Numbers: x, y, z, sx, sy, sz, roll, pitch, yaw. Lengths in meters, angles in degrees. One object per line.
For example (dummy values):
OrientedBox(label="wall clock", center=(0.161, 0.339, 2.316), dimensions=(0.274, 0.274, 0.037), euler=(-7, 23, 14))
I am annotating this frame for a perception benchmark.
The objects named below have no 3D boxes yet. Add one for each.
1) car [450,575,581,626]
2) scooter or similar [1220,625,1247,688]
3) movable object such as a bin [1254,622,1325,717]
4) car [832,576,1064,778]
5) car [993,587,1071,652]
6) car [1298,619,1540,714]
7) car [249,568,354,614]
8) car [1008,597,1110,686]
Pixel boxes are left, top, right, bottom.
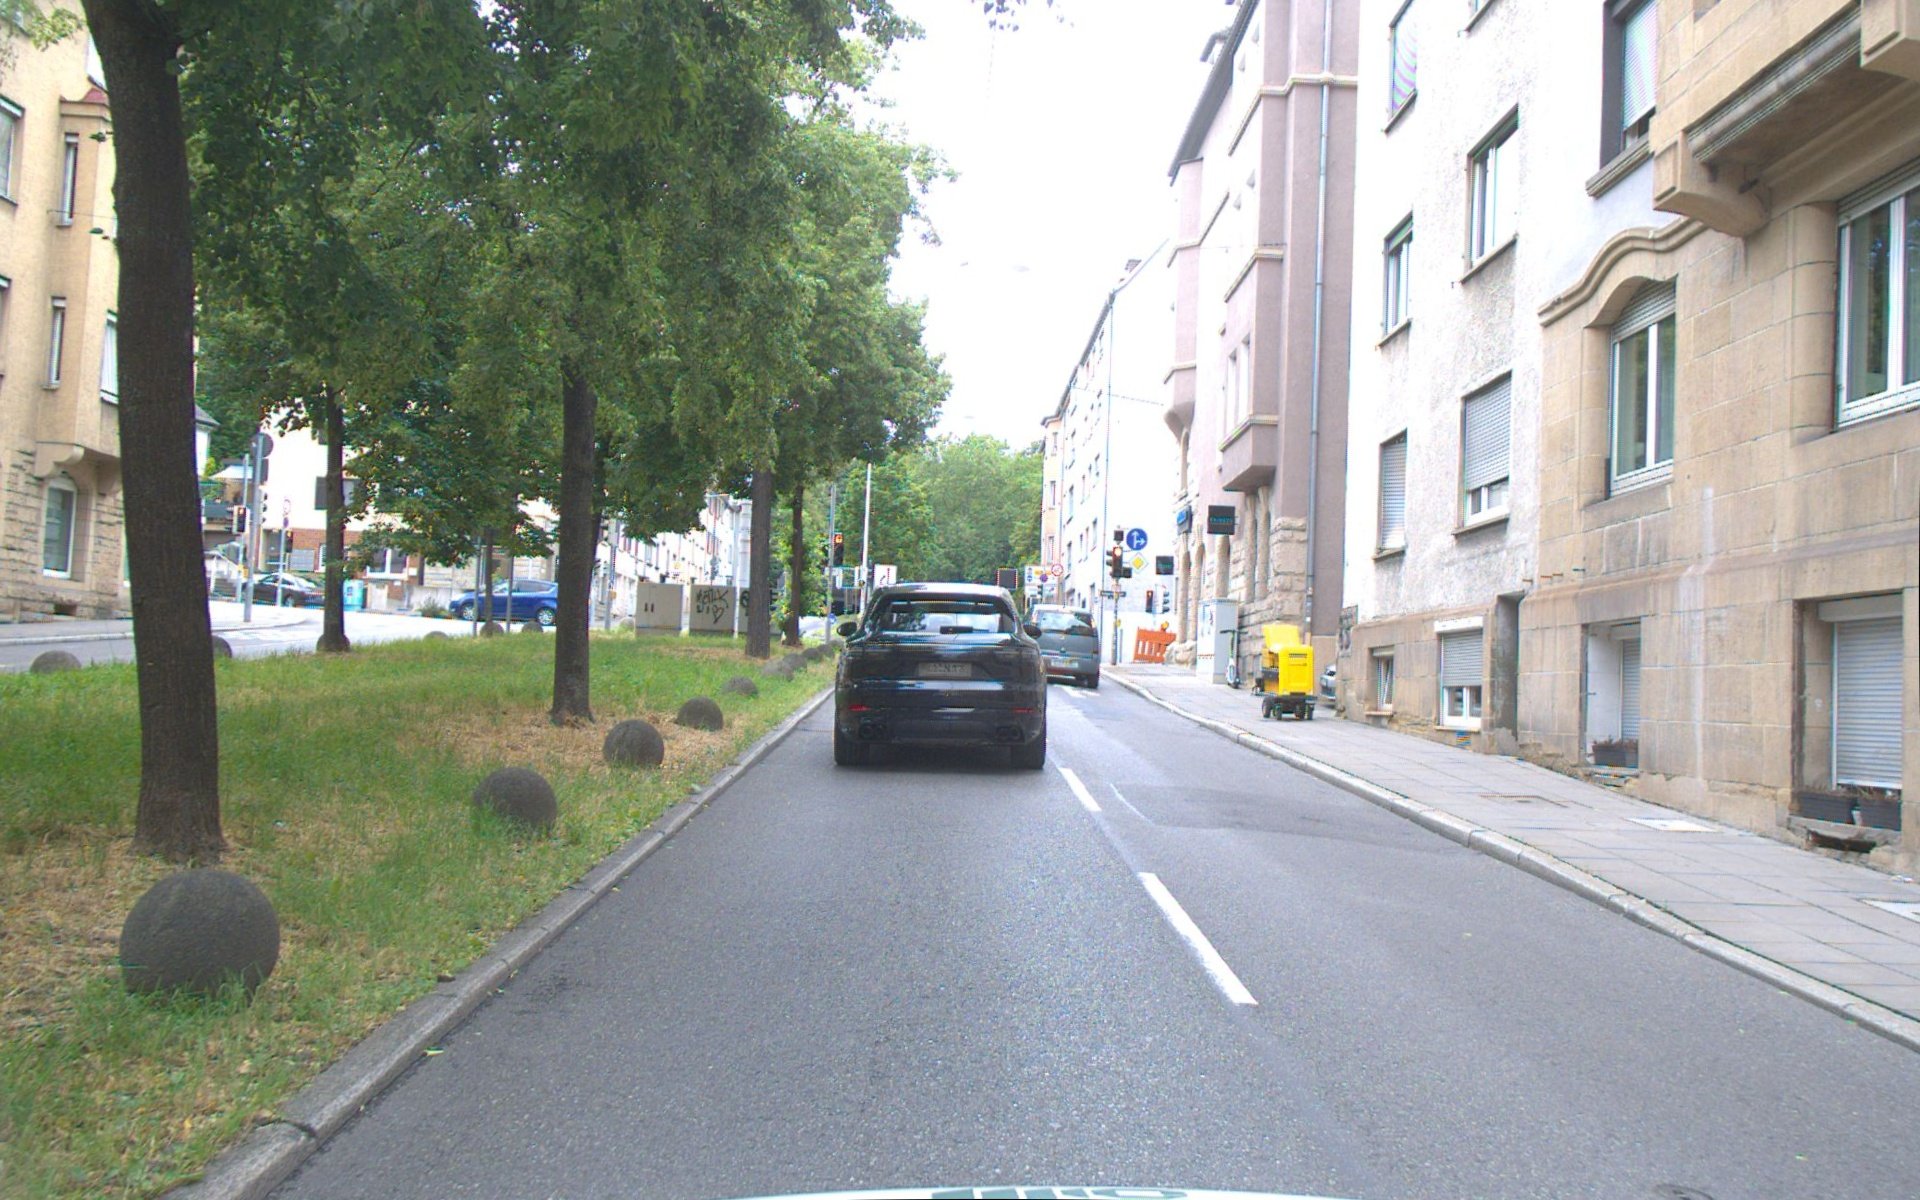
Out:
OrientedBox(label="car", center=(-15.518, 0.028, 57.951), dimensions=(4.125, 1.536, 1.797), euler=(3, 0, -7))
OrientedBox(label="scooter or similar", center=(5.601, 1.139, 33.925), dimensions=(0.392, 1.209, 1.355), euler=(1, 1, 3))
OrientedBox(label="movable object such as a bin", center=(5.239, 1.085, 26.380), dimensions=(0.705, 1.446, 1.692), euler=(1, -1, -3))
OrientedBox(label="car", center=(-0.099, 0.654, 16.224), dimensions=(1.953, 1.681, 4.000), euler=(2, 0, 0))
OrientedBox(label="car", center=(1.947, 0.545, 46.006), dimensions=(1.953, 1.682, 3.999), euler=(2, -1, 0))
OrientedBox(label="car", center=(8.390, 1.200, 30.476), dimensions=(3.906, 1.427, 1.800), euler=(3, 2, -1))
OrientedBox(label="car", center=(-26.156, -0.357, 65.681), dimensions=(3.916, 1.694, 1.877), euler=(1, -2, 33))
OrientedBox(label="car", center=(2.044, 0.832, 35.133), dimensions=(1.717, 1.620, 3.629), euler=(6, 0, -1))
